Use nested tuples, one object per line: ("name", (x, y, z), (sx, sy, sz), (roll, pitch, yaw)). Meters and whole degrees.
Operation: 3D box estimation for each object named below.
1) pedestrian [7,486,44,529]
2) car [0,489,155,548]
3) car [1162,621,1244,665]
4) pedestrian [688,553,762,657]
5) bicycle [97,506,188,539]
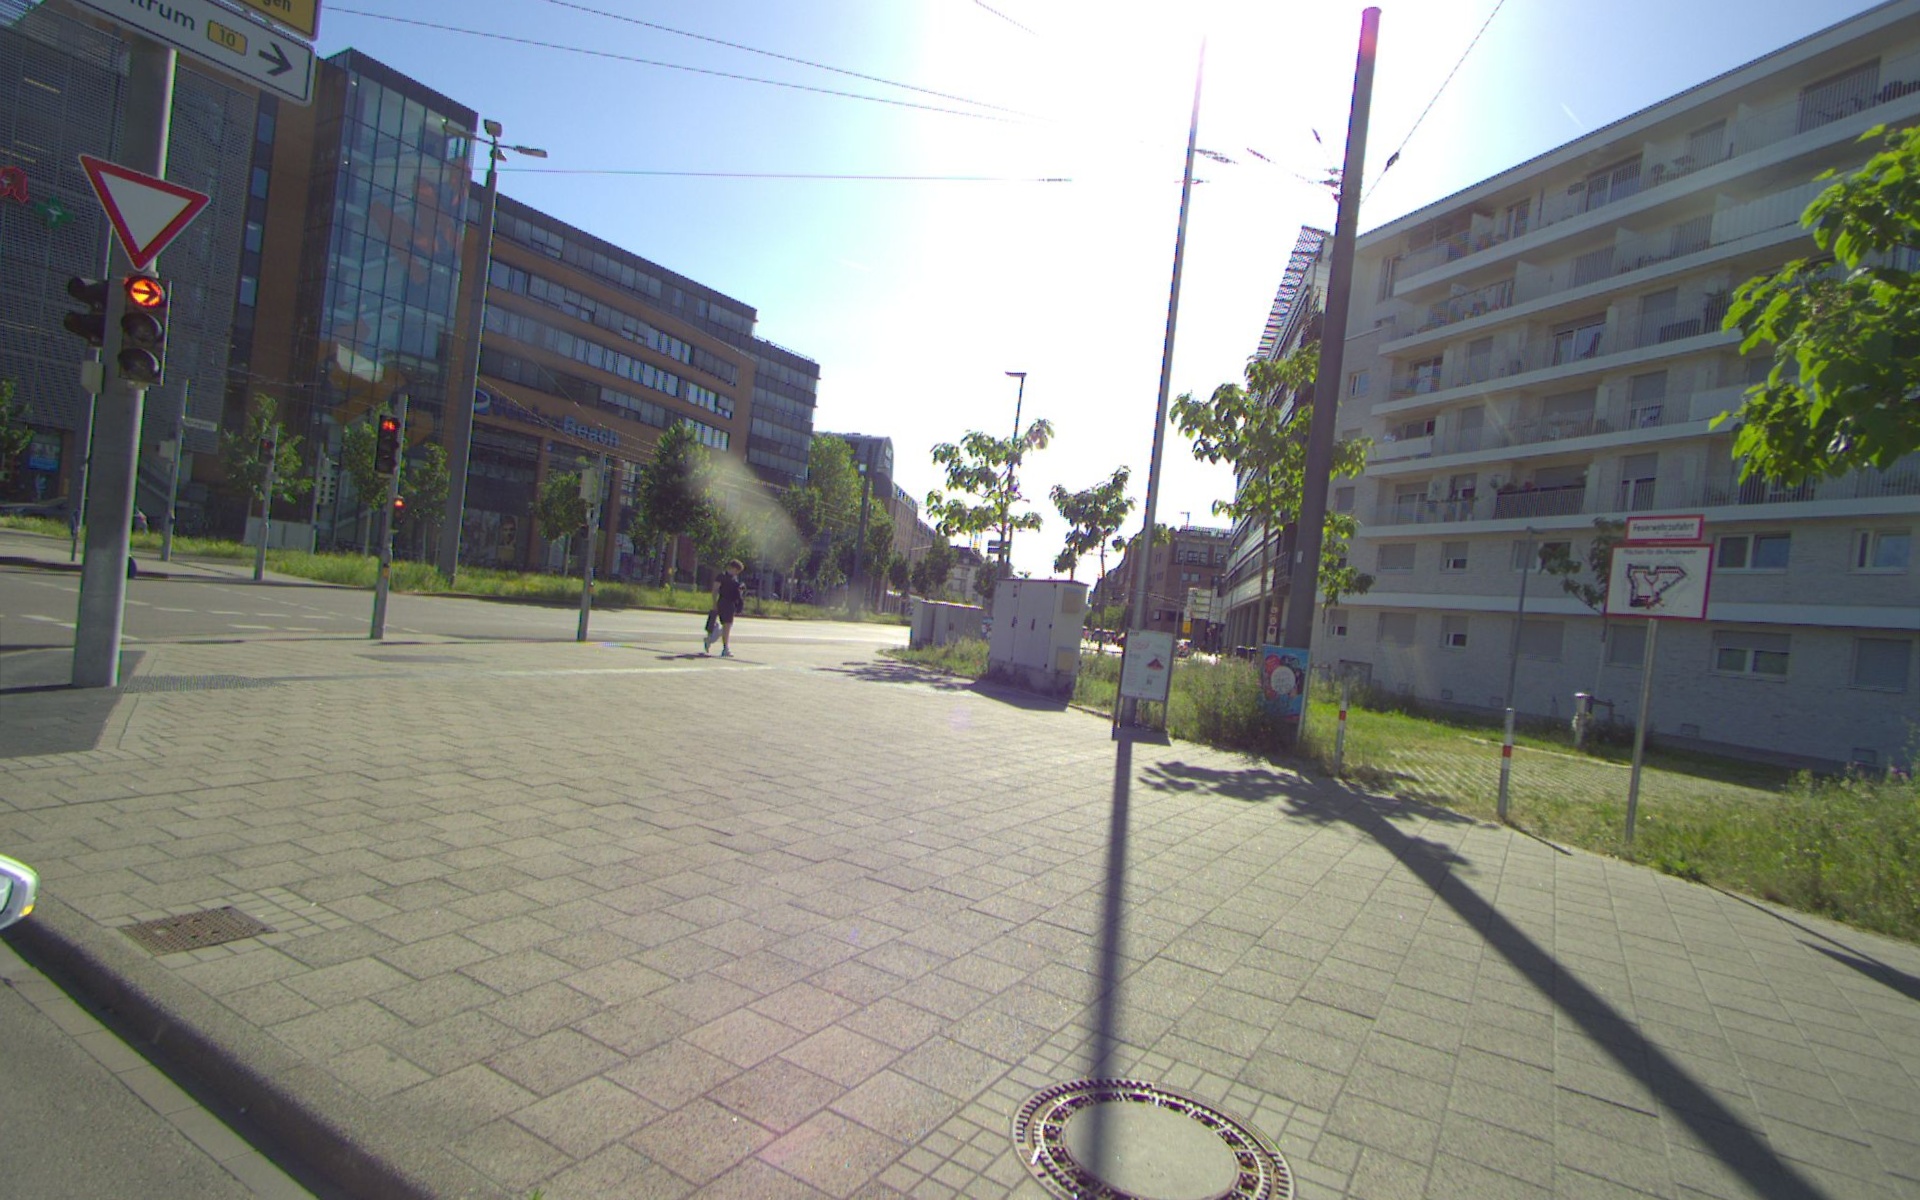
("pedestrian", (-41.263, -4.078, 44.417), (0.740, 1.759, 0.855), (7, 0, 25))
("car", (-32.384, -2.960, 36.615), (1.470, 1.513, 4.493), (7, -1, 32))
("car", (13.863, 2.447, 57.585), (3.929, 2.038, 1.999), (7, 0, -5))
("pedestrian", (-4.189, 0.091, 17.938), (0.749, 1.729, 0.807), (7, 0, 31))
("bicycle", (-41.404, -3.914, 51.004), (1.100, 1.090, 3.361), (7, -1, 38))
